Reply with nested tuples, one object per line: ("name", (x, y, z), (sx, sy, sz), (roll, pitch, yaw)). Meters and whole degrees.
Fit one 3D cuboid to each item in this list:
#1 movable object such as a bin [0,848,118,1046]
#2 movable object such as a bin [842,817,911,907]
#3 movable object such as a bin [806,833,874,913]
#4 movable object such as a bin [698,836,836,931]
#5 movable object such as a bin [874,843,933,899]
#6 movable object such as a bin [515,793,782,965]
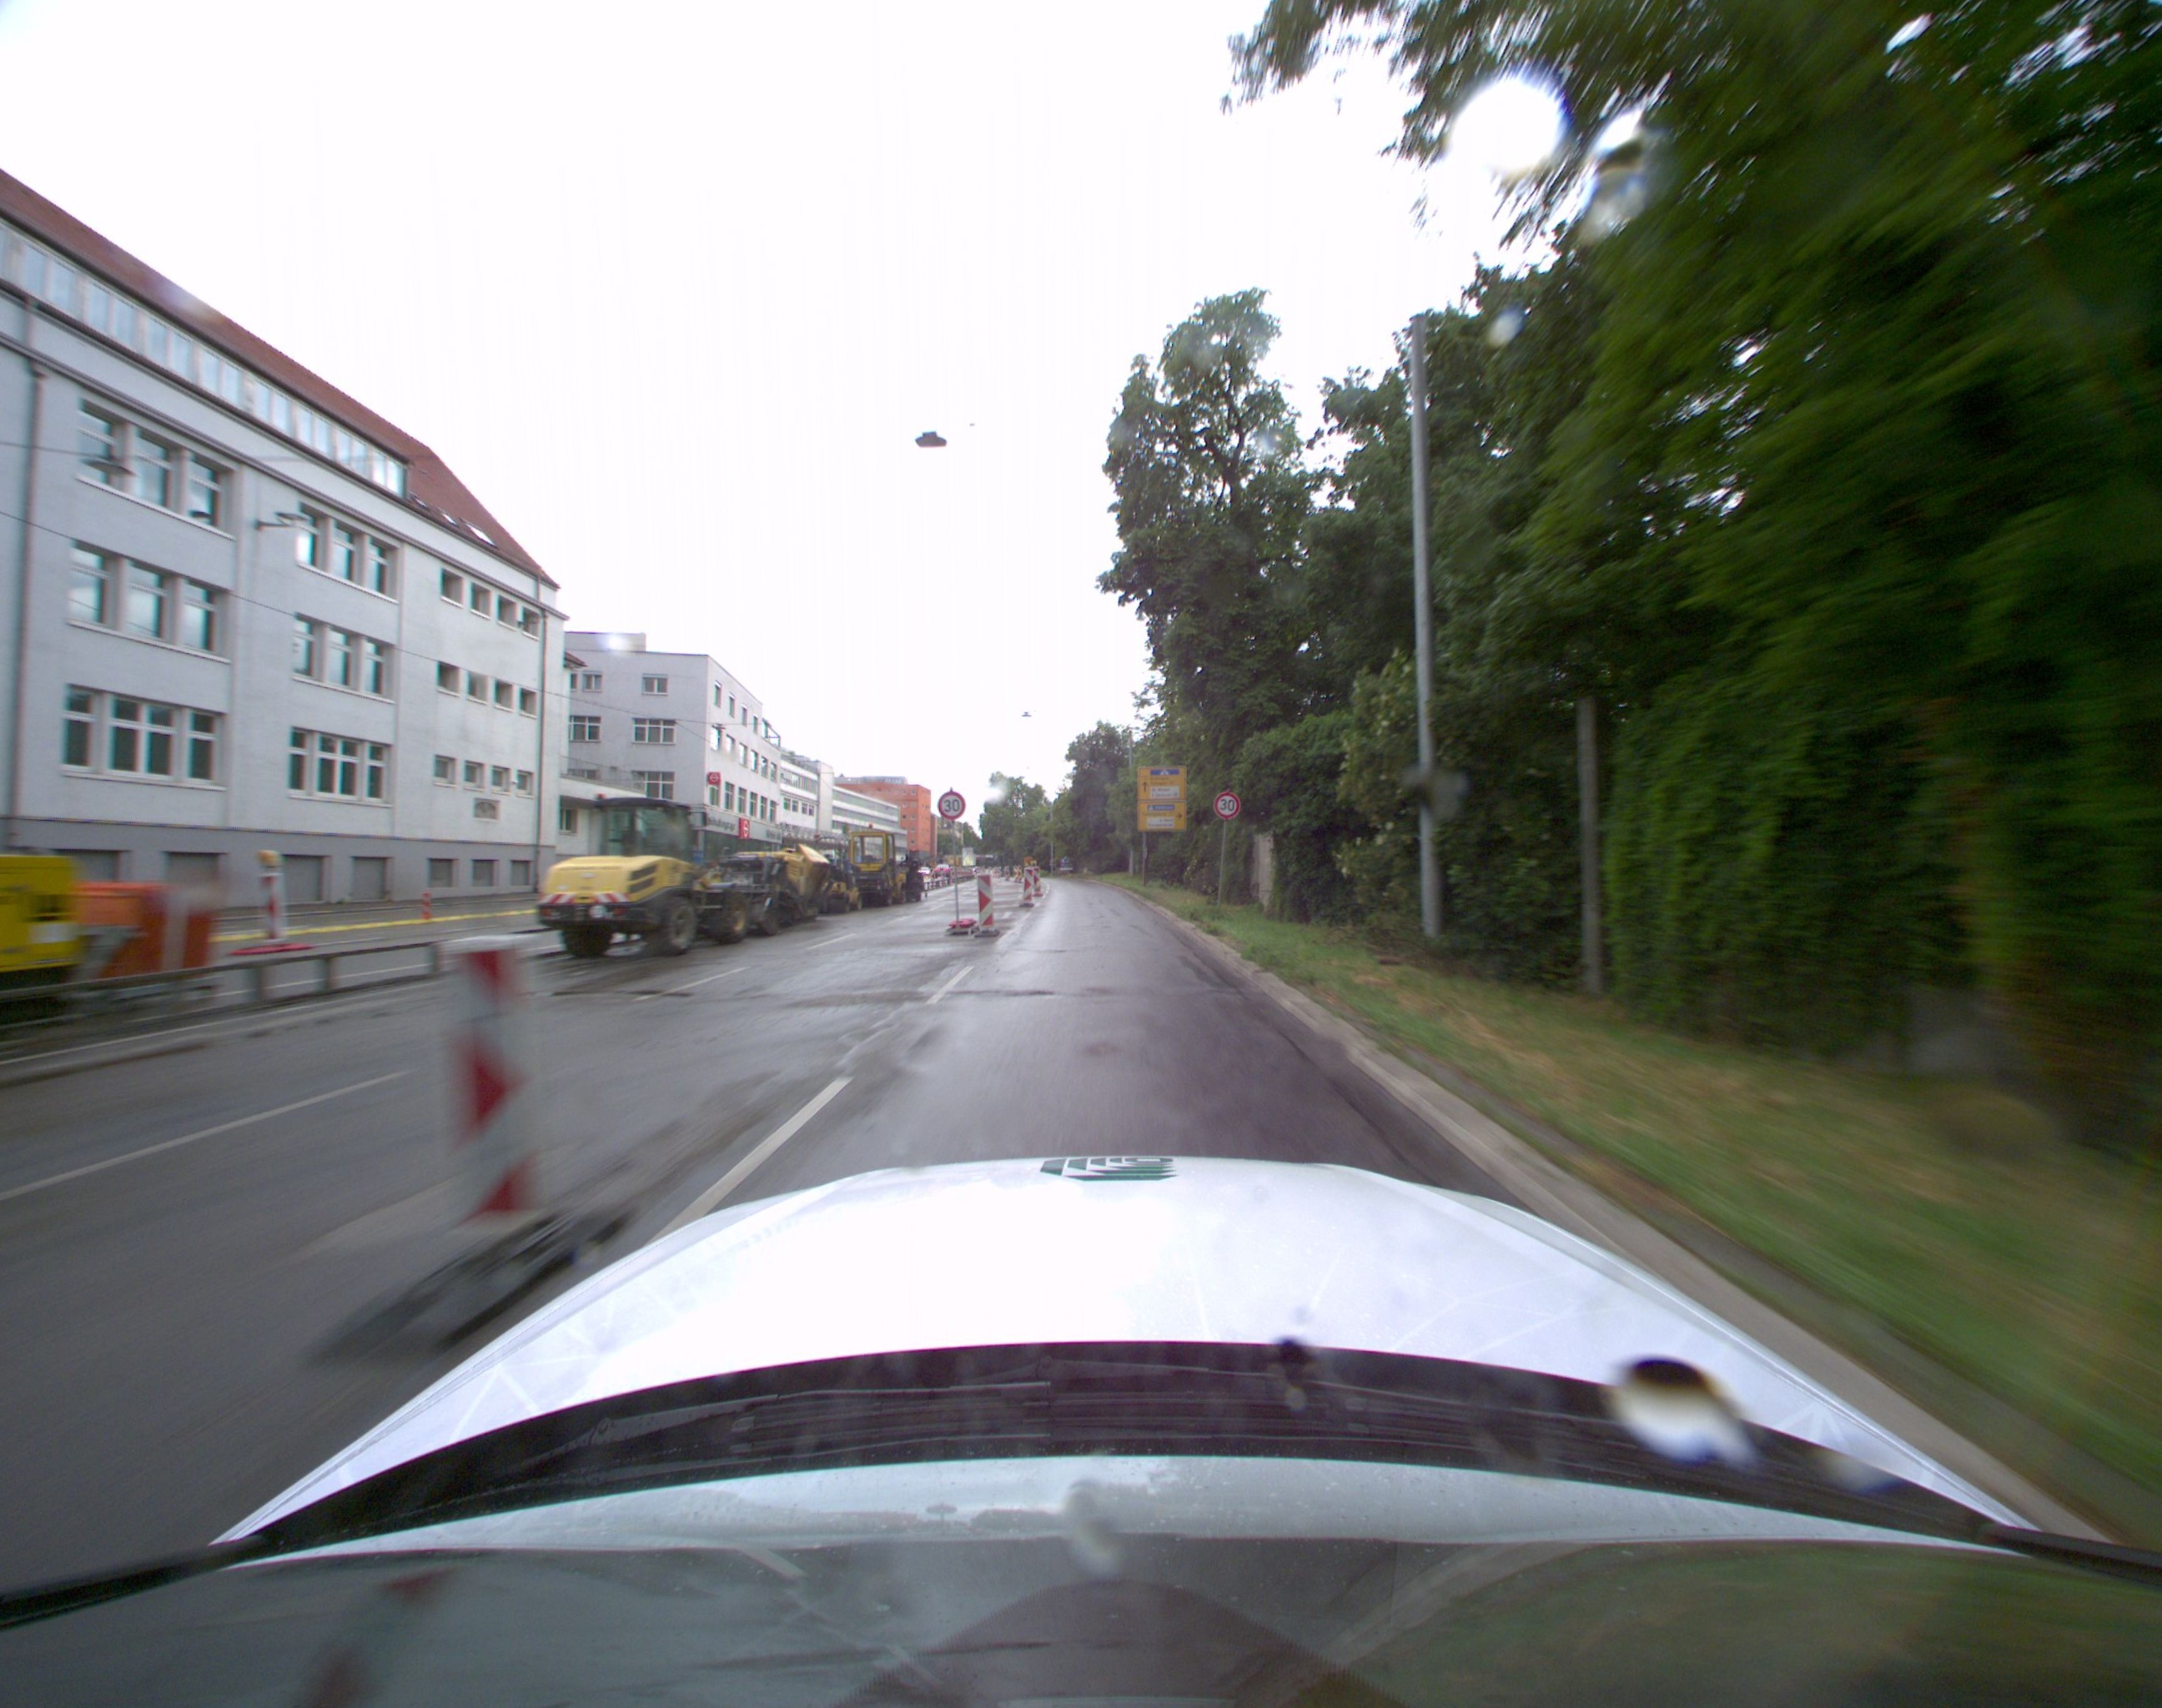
("movable object such as a bin", (-9.522, 0.769, 6.337), (1.079, 1.644, 2.439), (0, -1, 1))
("movable object such as a bin", (-7.355, 0.279, 29.552), (1.461, 3.008, 3.724), (-2, 0, 0))
("movable object such as a bin", (-7.637, 0.578, 25.985), (1.406, 2.401, 2.404), (-2, 0, -1))
("movable object such as a bin", (-7.632, 0.655, 20.374), (1.357, 2.090, 5.032), (0, 0, 2))
("movable object such as a bin", (-7.272, 0.674, 33.665), (1.711, 2.150, 3.347), (-2, 0, -2))
("movable object such as a bin", (-7.531, 0.389, 15.008), (1.895, 2.609, 5.385), (0, 0, 2))
